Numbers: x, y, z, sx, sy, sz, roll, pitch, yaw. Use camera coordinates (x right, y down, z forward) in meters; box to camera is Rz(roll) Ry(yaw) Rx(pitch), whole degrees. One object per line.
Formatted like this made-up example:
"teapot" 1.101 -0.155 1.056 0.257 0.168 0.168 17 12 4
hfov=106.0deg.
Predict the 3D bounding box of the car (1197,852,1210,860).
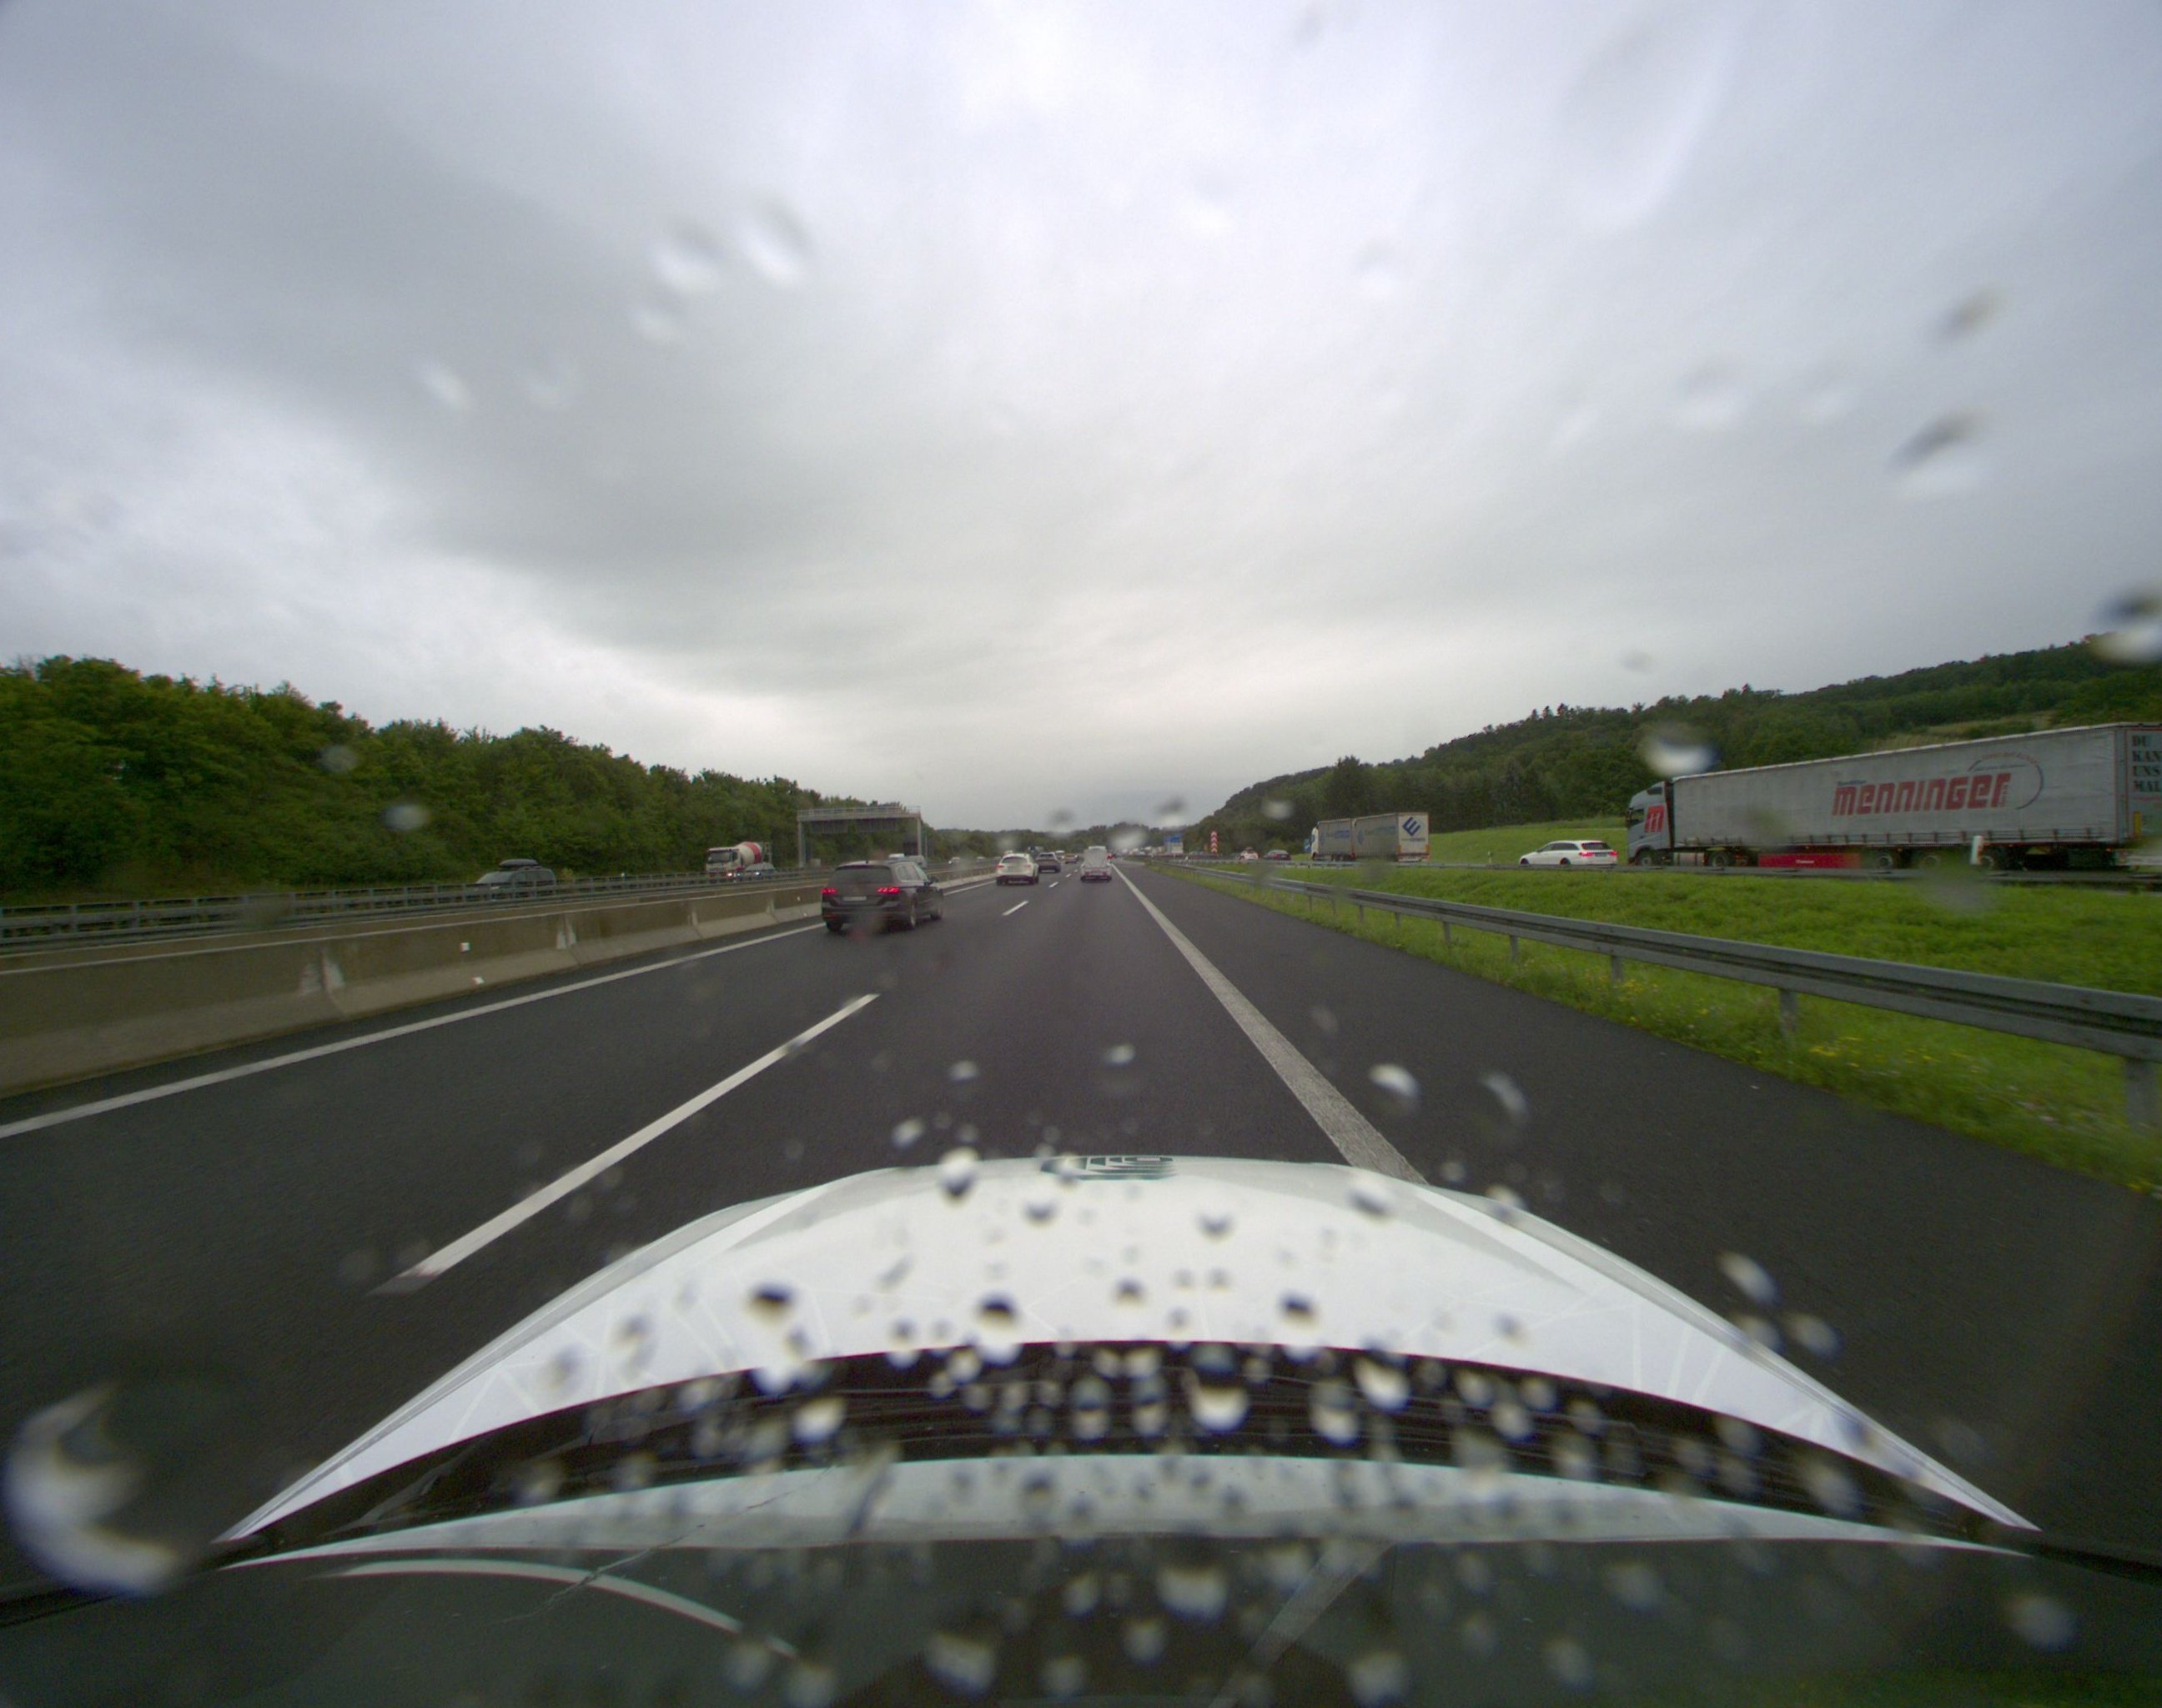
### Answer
"car" 20.633 0.283 137.160 1.691 1.288 3.536 0 0 2

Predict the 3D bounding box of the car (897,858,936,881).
"car" -12.580 1.170 62.622 1.987 1.650 5.026 0 0 0

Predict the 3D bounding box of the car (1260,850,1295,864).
"car" 19.652 0.280 81.606 1.982 1.377 5.312 -1 0 -4

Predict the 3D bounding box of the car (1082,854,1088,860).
"car" 1.047 0.730 214.128 1.639 1.574 4.002 0 0 2

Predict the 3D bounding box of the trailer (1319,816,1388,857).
"trailer" 24.524 -1.493 73.722 2.932 3.527 8.407 0 0 -4

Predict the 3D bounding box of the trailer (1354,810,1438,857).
"trailer" 25.156 -1.523 65.494 3.073 3.527 8.070 0 0 -5

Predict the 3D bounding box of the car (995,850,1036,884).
"car" -3.448 0.657 43.538 2.044 1.670 4.535 -1 0 -3

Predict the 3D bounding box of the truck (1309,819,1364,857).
"truck" 24.260 -1.449 77.606 2.933 3.527 5.917 0 0 -5

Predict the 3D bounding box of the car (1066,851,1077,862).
"car" -1.604 0.421 135.153 1.732 1.794 4.001 -1 0 1

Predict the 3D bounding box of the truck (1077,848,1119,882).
"truck" 0.964 0.613 47.490 2.234 1.839 6.585 -1 0 1

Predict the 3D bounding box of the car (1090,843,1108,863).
"car" 2.413 -0.150 111.120 2.324 2.725 6.538 -1 0 -1

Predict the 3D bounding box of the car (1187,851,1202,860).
"car" 17.225 0.196 123.294 1.536 1.288 3.529 0 0 -4

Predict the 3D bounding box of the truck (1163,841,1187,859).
"truck" 19.775 -0.827 171.386 3.815 3.659 8.265 0 0 -2

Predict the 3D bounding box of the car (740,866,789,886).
"car" -25.830 1.795 66.566 1.986 1.407 4.678 -2 0 2

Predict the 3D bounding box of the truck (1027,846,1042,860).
"truck" -11.626 -0.207 204.424 2.798 3.524 10.641 0 0 1

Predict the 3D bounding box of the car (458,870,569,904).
"car" -27.501 1.553 39.693 1.986 1.407 4.678 -2 0 2

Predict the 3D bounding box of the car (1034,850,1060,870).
"car" -2.893 0.487 70.559 1.969 1.703 4.803 0 0 1

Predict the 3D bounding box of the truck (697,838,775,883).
"truck" -30.387 0.559 72.310 2.676 3.661 9.558 -2 0 1

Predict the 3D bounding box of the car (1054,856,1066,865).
"car" -3.784 1.160 145.562 1.812 1.662 4.019 -1 0 2

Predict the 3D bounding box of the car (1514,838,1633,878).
"car" 22.073 0.182 36.784 1.990 1.616 5.070 -2 0 -5

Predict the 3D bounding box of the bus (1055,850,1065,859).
"bus" -6.292 0.074 245.388 2.531 2.586 8.274 0 0 2

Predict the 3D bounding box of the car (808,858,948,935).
"car" -4.300 0.828 18.088 1.781 1.459 4.804 -1 0 1

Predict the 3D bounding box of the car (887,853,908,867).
"car" -29.325 0.954 130.332 1.986 2.213 5.716 -2 0 1

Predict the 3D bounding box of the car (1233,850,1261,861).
"car" 21.507 0.185 105.662 1.984 1.377 5.067 -1 0 -6

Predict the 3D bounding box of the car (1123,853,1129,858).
"car" 13.834 0.512 250.190 1.639 1.574 4.002 0 0 2

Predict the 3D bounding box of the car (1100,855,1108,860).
"car" 6.901 1.034 245.724 1.989 1.552 3.995 0 0 -4

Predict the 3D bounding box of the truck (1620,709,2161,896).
"truck" 26.792 -1.232 28.353 3.813 4.540 16.859 -1 0 -4

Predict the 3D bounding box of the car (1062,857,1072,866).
"car" -2.731 1.424 160.104 1.812 1.662 4.019 -1 0 2

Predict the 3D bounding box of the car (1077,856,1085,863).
"car" 0.034 1.205 176.430 1.639 1.574 4.002 0 0 2
